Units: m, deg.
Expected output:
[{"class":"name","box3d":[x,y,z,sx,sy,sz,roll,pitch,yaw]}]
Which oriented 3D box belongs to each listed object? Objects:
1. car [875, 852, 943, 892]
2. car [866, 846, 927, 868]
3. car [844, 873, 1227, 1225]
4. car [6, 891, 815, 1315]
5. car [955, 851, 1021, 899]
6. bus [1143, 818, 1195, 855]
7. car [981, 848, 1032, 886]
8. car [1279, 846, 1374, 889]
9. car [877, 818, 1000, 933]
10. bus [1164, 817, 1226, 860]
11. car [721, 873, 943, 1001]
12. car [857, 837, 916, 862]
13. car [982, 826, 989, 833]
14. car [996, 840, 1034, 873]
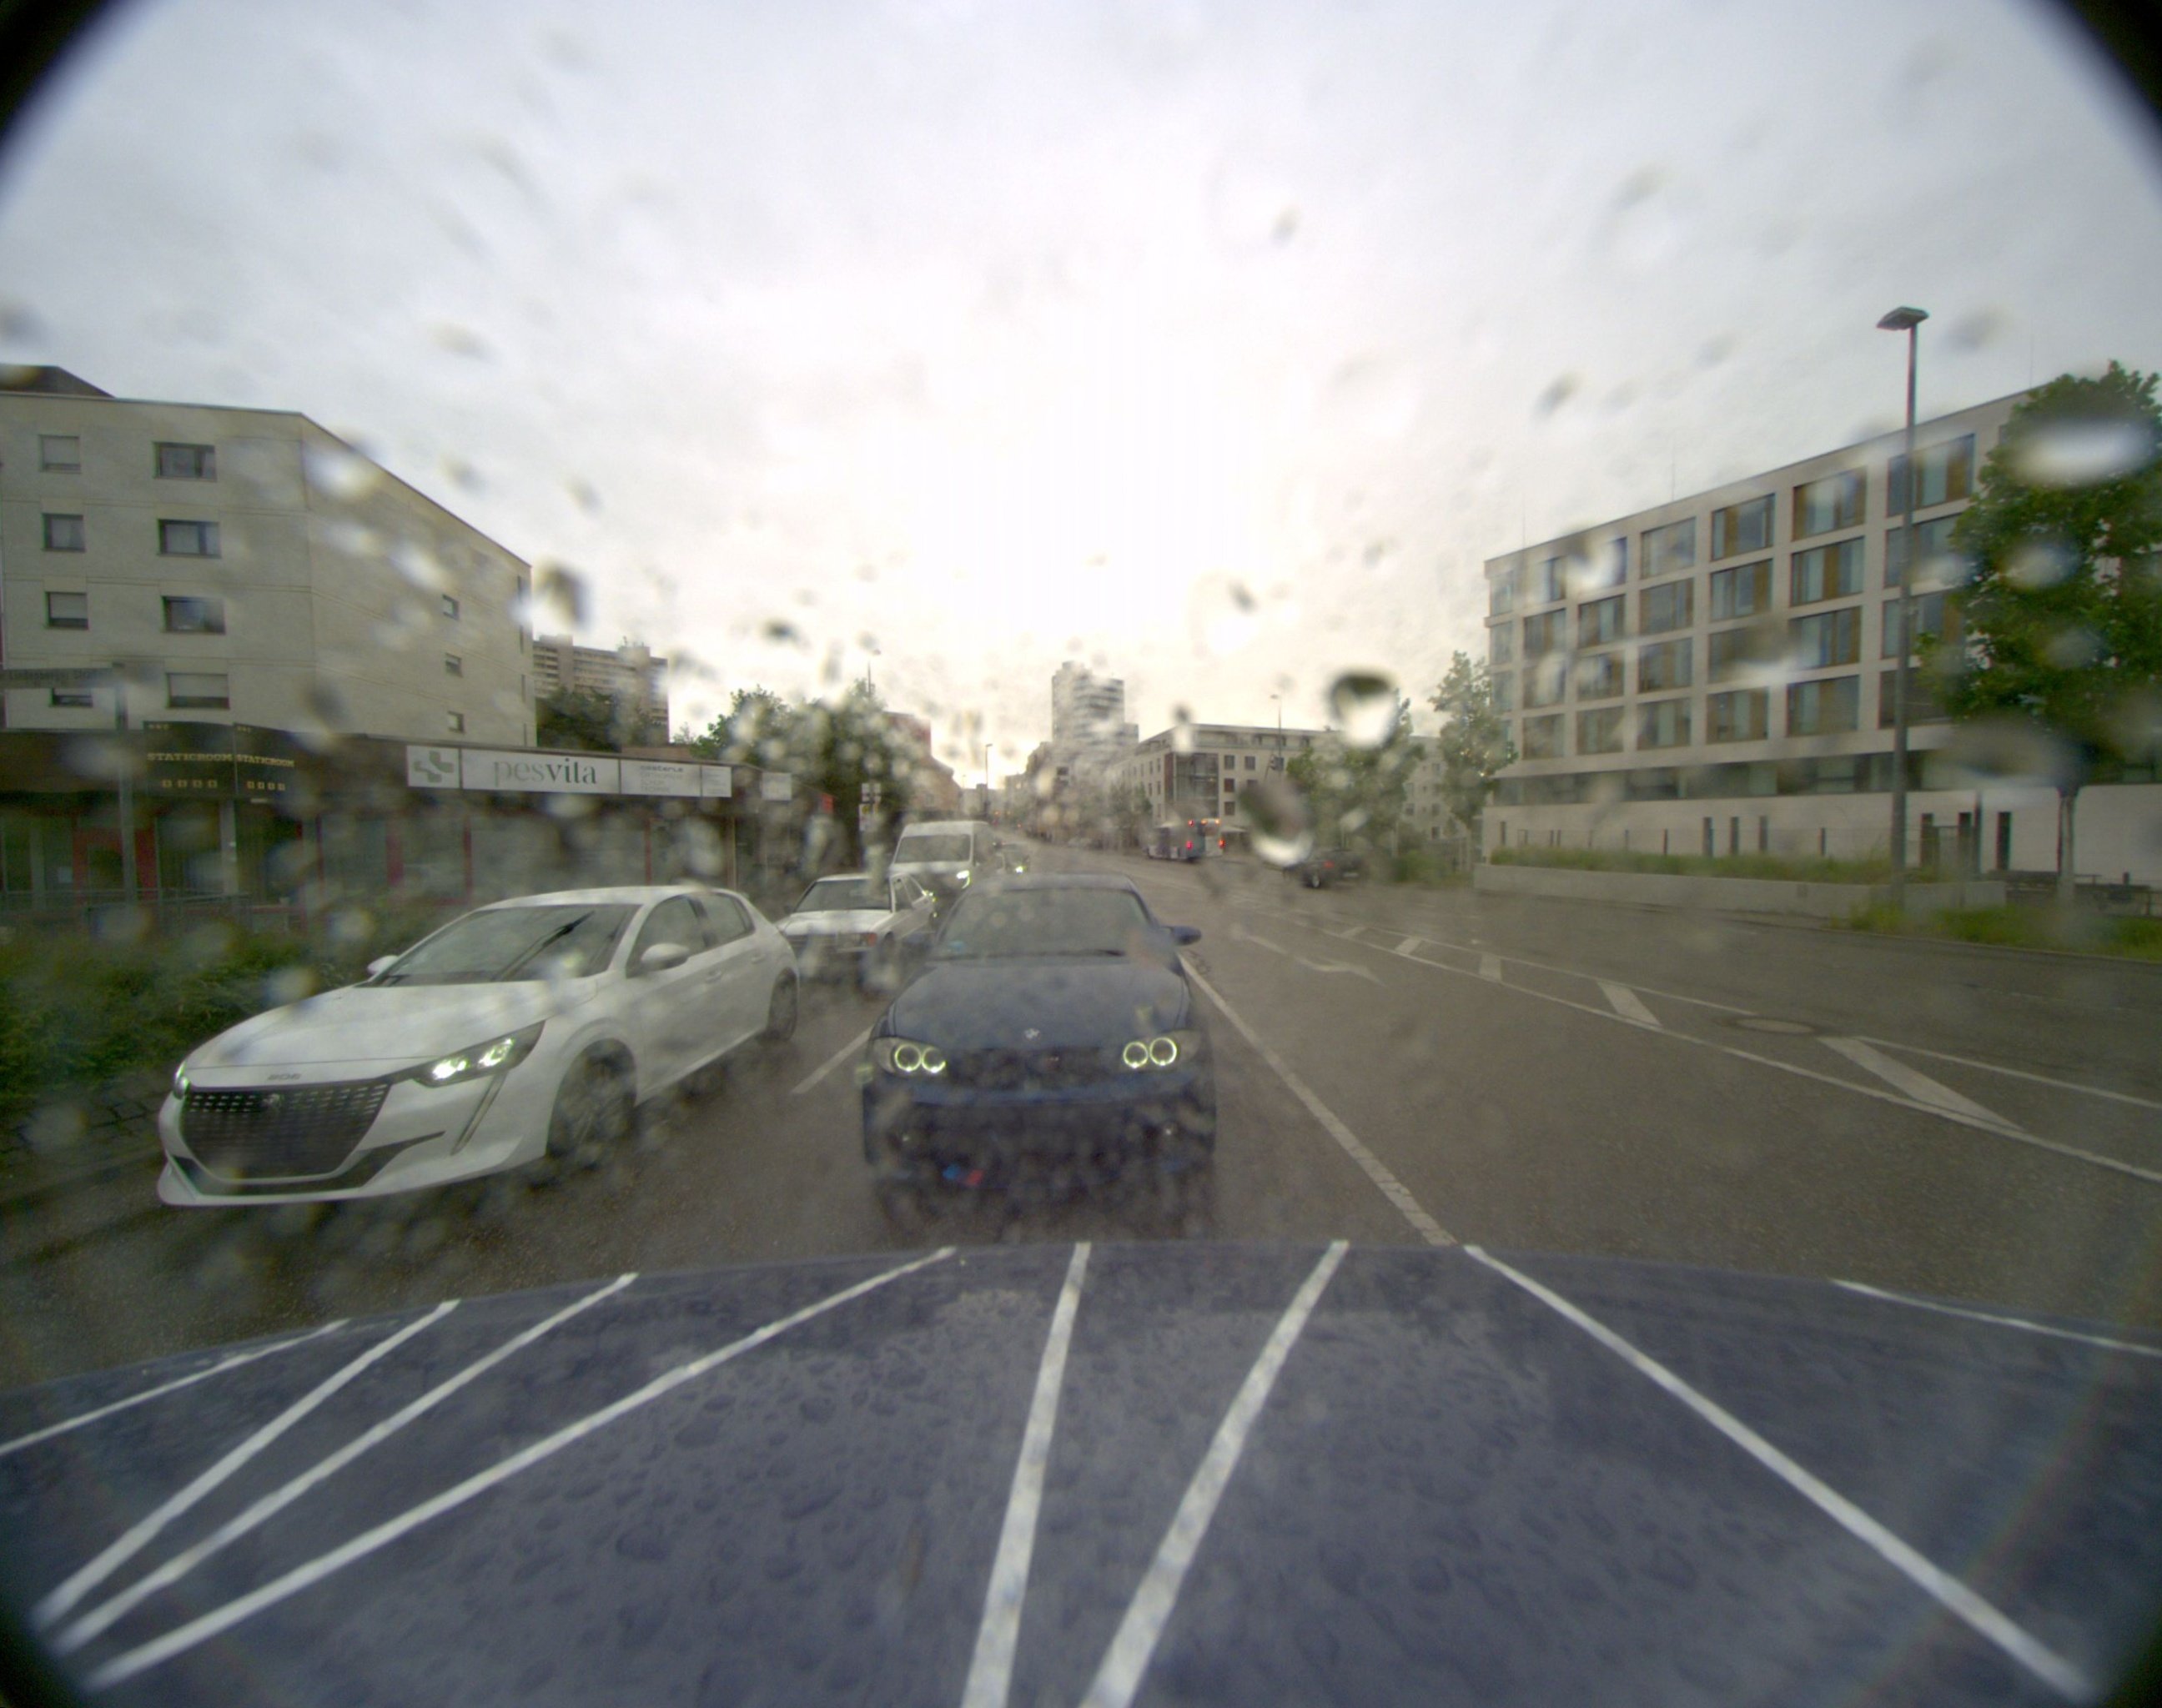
[{"class":"car","box3d":[-7.016,0.688,31.431,1.788,1.481,4.000,-2,1,1]},{"class":"car","box3d":[-12.821,0.208,52.985,4.000,1.419,1.882,-1,1,-10]},{"class":"car","box3d":[-0.247,0.936,5.450,1.693,1.380,3.999,-2,1,-1]},{"class":"car","box3d":[-3.372,1.090,5.066,1.666,1.407,4.114,-2,1,1]},{"class":"car","box3d":[-3.344,0.720,27.995,1.803,1.530,3.999,-2,1,1]},{"class":"bus","box3d":[7.754,-1.534,68.056,2.800,3.096,8.878,-1,1,-6]},{"class":"car","box3d":[-3.381,0.551,35.124,1.999,1.559,3.998,-2,1,-1]},{"class":"car","box3d":[8.756,0.450,27.481,1.790,1.382,4.279,-2,1,-4]},{"class":"car","box3d":[-3.475,0.413,19.925,2.197,2.503,6.120,-1,1,-2]},{"class":"bus","box3d":[8.630,-1.157,58.892,2.785,3.096,9.363,-1,1,-4]},{"class":"car","box3d":[-3.378,1.056,11.227,1.788,1.338,4.162,-2,1,1]},{"class":"car","box3d":[-14.114,-0.323,55.330,4.000,1.769,1.882,-1,1,-10]},{"class":"car","box3d":[-26.696,-6.768,211.419,1.666,1.625,3.801,-2,1,-11]},{"class":"car","box3d":[-4.172,0.102,48.489,1.998,2.002,3.999,0,1,1]}]
